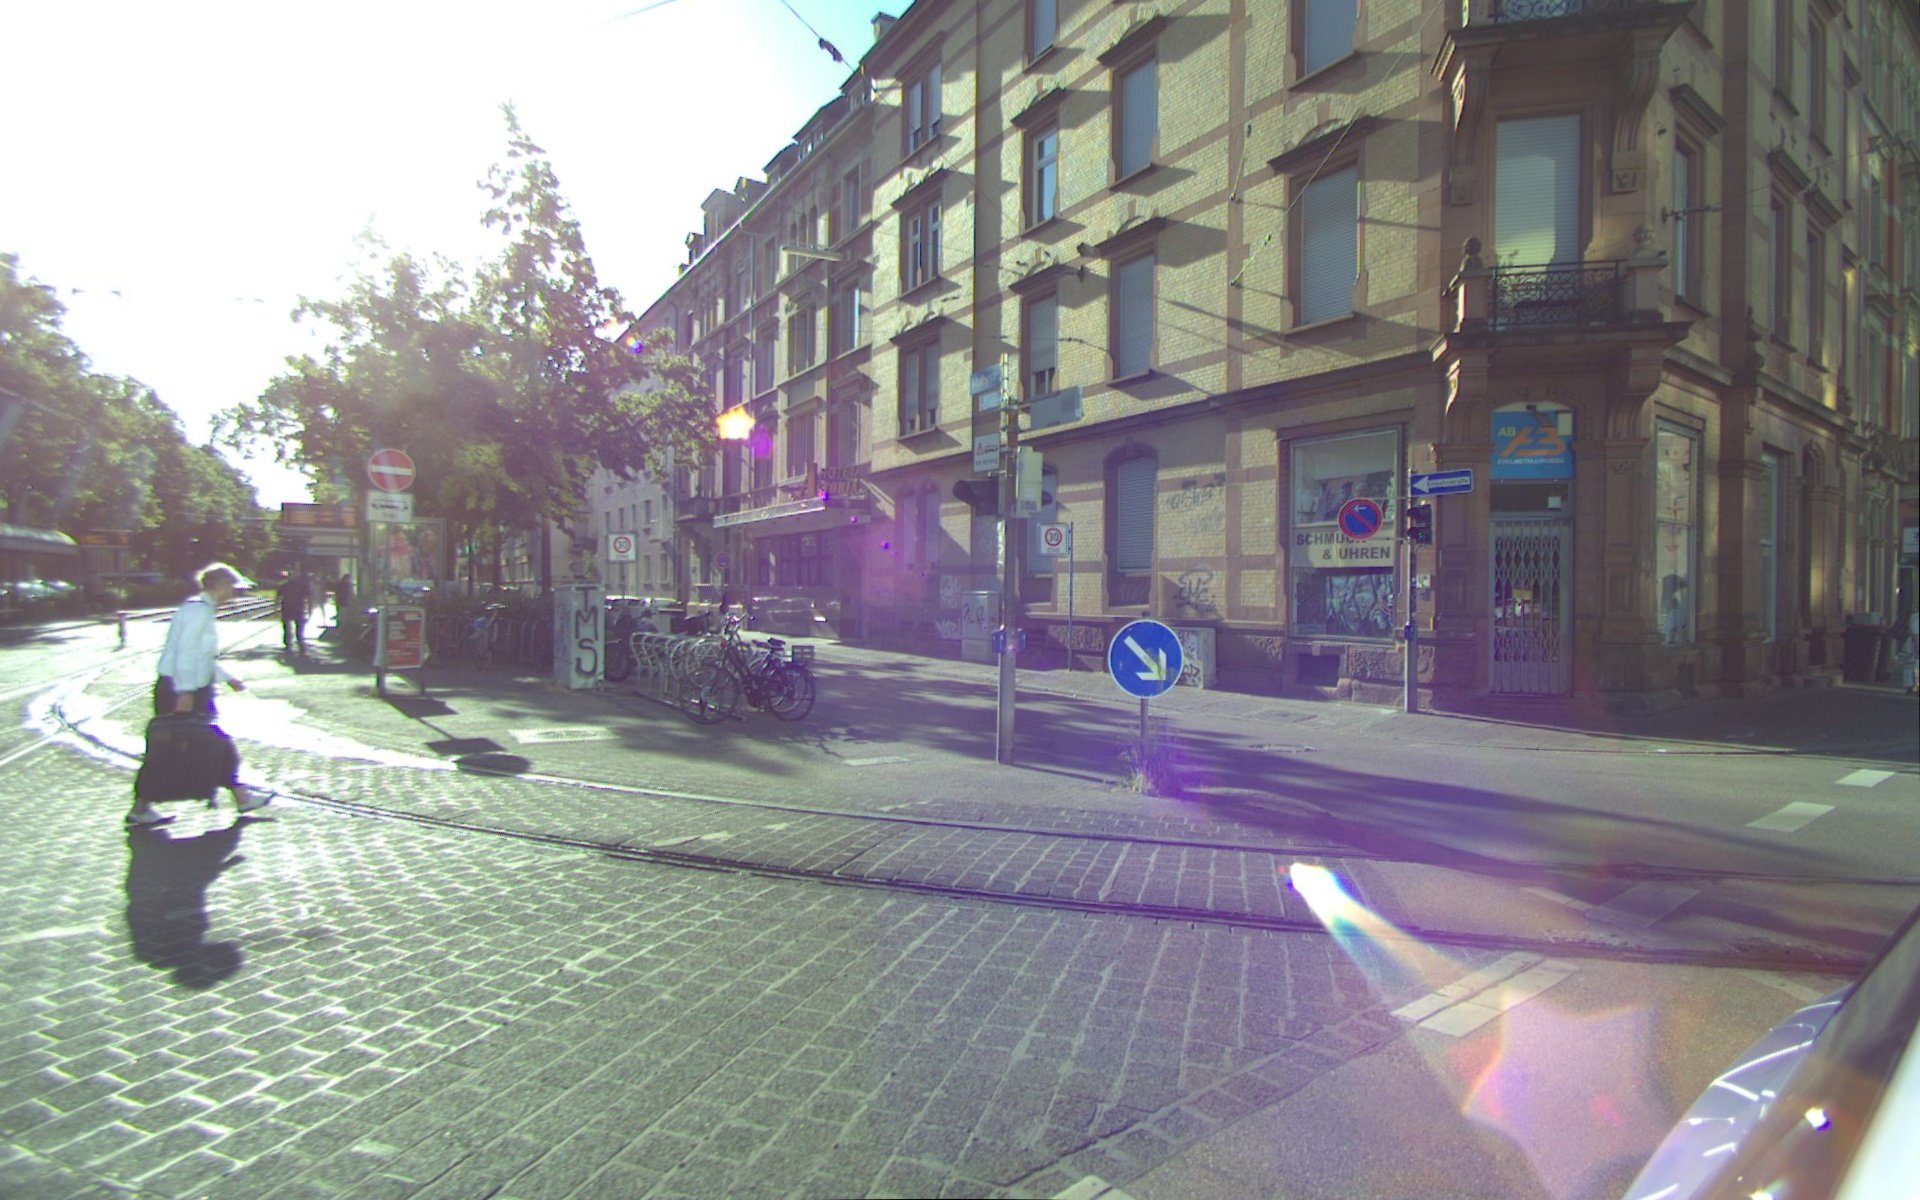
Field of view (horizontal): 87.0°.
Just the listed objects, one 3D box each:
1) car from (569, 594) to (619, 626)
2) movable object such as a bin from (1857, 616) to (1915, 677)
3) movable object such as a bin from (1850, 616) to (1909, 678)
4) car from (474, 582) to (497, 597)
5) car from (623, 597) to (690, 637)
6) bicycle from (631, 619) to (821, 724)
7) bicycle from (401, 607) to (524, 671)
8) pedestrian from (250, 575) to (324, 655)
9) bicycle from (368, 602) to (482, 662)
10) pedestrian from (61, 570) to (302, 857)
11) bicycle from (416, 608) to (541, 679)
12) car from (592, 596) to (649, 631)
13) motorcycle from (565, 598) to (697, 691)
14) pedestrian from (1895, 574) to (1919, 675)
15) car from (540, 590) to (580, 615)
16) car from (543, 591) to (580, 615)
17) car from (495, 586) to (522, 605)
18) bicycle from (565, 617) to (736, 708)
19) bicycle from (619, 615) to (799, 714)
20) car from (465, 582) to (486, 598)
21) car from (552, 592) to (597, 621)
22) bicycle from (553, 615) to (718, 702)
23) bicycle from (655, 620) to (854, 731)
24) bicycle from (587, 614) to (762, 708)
[{"bbox_3d":[-17.552,0.446,48.415,1.709,1.438,3.772,1,0,-28],"label":"car"},{"bbox_3d":[17.706,0.880,19.355,0.579,1.086,0.665,2,1,-36],"label":"movable object such as a bin"},{"bbox_3d":[17.244,0.873,18.981,0.535,1.086,0.665,2,1,-36],"label":"movable object such as a bin"},{"bbox_3d":[-44.860,-0.980,95.656,1.709,1.438,3.772,1,0,-28],"label":"car"},{"bbox_3d":[-11.704,0.616,38.864,1.709,1.438,4.005,1,0,-28],"label":"car"},{"bbox_3d":[-2.969,0.892,13.029,2.270,1.225,0.752,3,-2,-41],"label":"bicycle"},{"bbox_3d":[-9.546,0.757,19.494,0.647,1.143,2.012,1,-2,37],"label":"bicycle"},{"bbox_3d":[-14.432,0.309,21.716,1.003,1.653,1.009,0,0,35],"label":"pedestrian"},{"bbox_3d":[-10.839,0.651,20.594,0.644,1.143,2.021,1,-2,26],"label":"bicycle"},{"bbox_3d":[-4.890,0.655,6.453,0.988,1.653,0.927,1,0,-23],"label":"pedestrian"},{"bbox_3d":[-8.901,0.773,18.779,0.647,1.225,2.012,1,0,37],"label":"bicycle"},{"bbox_3d":[-14.615,0.555,43.459,1.709,1.438,3.772,1,0,-28],"label":"car"},{"bbox_3d":[-5.598,0.749,17.260,1.917,1.422,0.861,3,-2,16],"label":"motorcycle"},{"bbox_3d":[15.790,0.398,16.494,0.678,1.628,0.722,1,-1,33],"label":"pedestrian"},{"bbox_3d":[-23.390,0.129,59.123,1.709,1.438,3.772,1,0,-28],"label":"car"},{"bbox_3d":[-24.956,0.195,63.286,1.709,1.438,3.772,1,0,-28],"label":"car"},{"bbox_3d":[-36.435,-0.377,81.628,1.709,1.438,3.772,1,0,-28],"label":"car"},{"bbox_3d":[-4.471,0.914,14.777,2.270,1.225,0.650,4,-2,-41],"label":"bicycle"},{"bbox_3d":[-3.356,0.869,13.719,2.270,1.225,0.650,4,-2,-41],"label":"bicycle"},{"bbox_3d":[-47.777,-0.984,99.736,1.709,1.438,3.772,1,0,-28],"label":"car"},{"bbox_3d":[-19.828,0.326,52.013,1.709,1.438,3.772,1,0,-28],"label":"car"},{"bbox_3d":[-4.913,0.897,15.450,2.270,1.225,0.650,4,-2,-41],"label":"bicycle"},{"bbox_3d":[-2.474,0.905,12.400,2.270,1.225,0.752,4,-2,-41],"label":"bicycle"},{"bbox_3d":[-3.978,0.860,14.257,2.270,1.225,0.650,4,-2,-41],"label":"bicycle"}]
